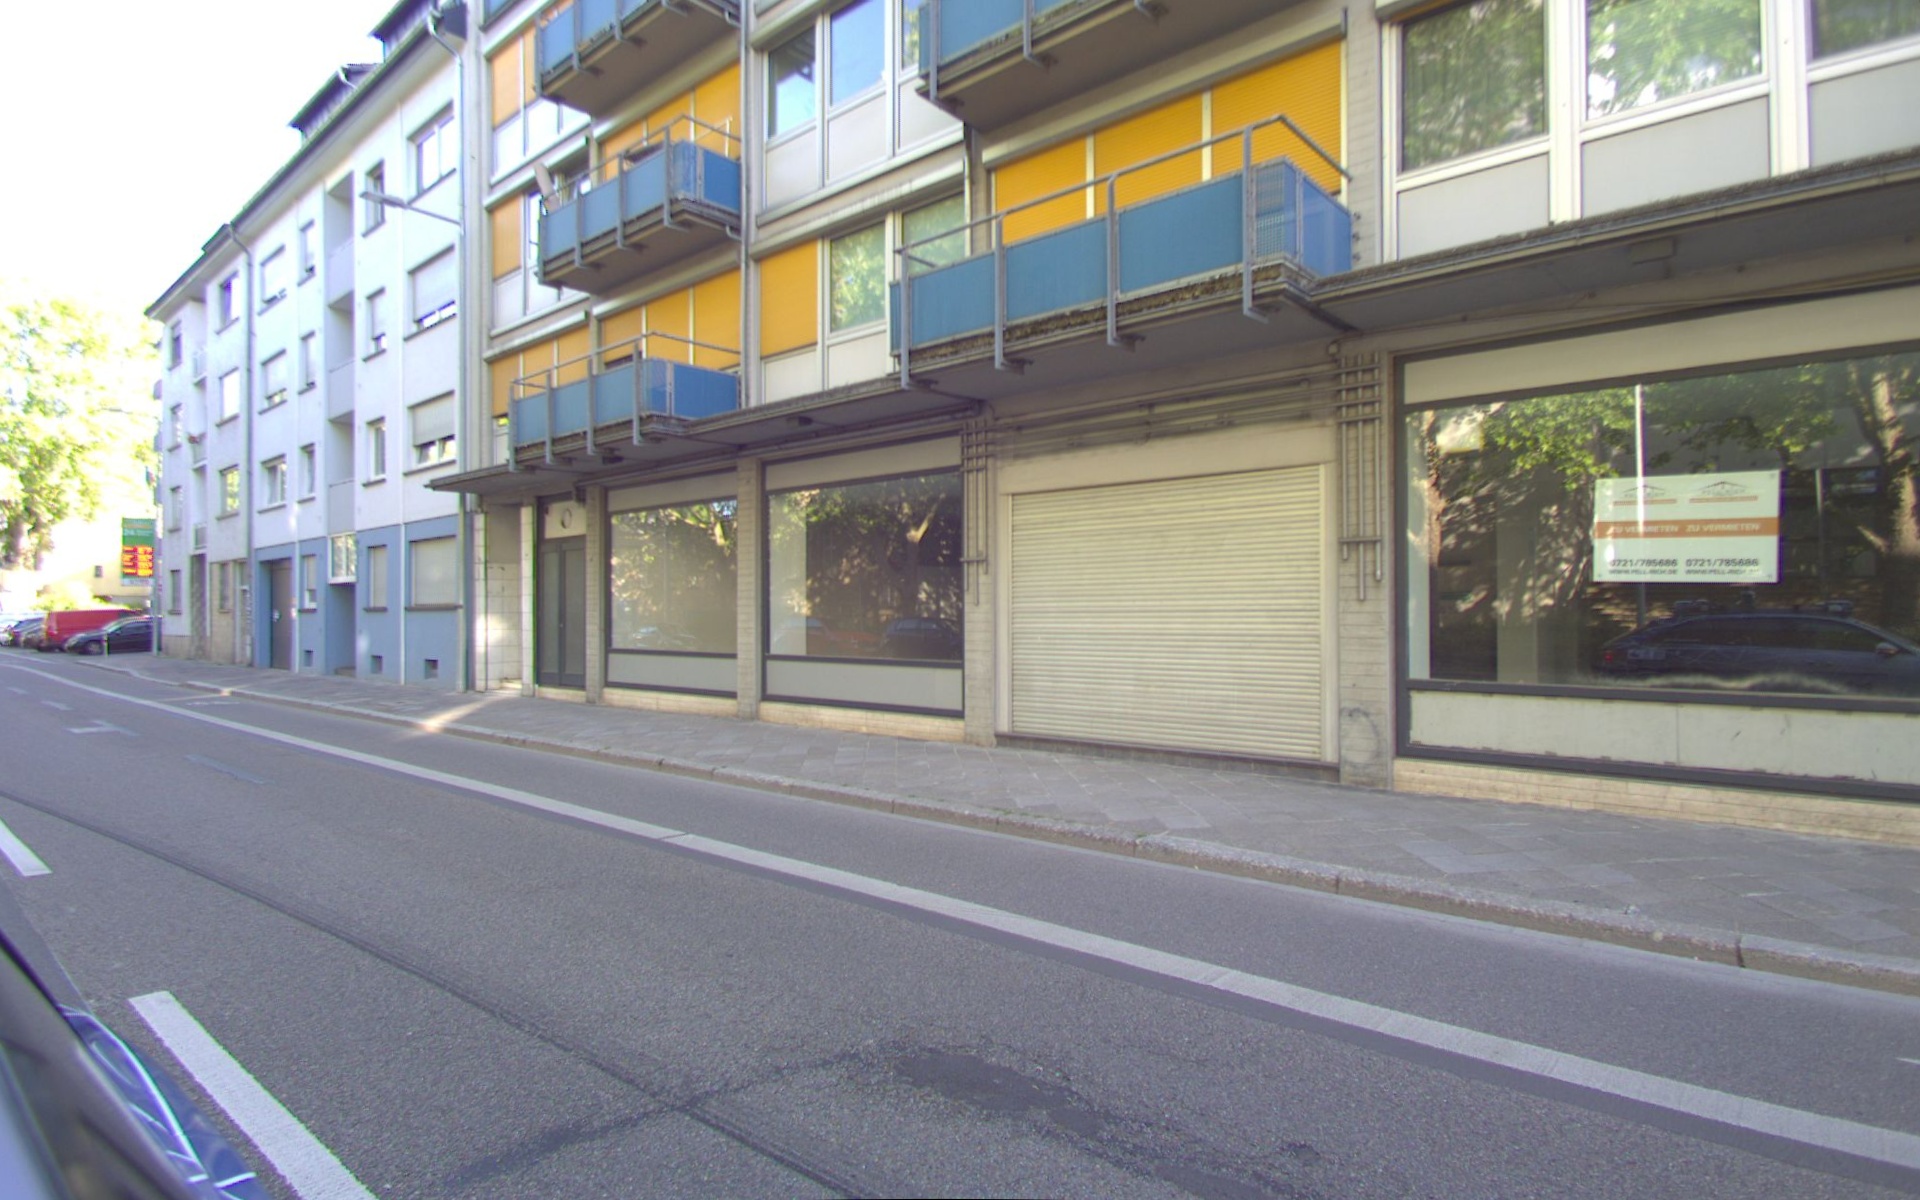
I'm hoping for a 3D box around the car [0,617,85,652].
[{"bbox_3d":[-56.044,2.070,61.457,2.000,1.971,4.180,-1,0,43],"label":"car"}]

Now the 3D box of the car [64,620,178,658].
[{"bbox_3d":[-38.030,1.733,45.928,1.657,1.583,3.762,-1,0,41],"label":"car"}]

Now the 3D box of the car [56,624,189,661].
[{"bbox_3d":[-36.479,1.796,44.145,1.657,1.417,4.269,-1,0,40],"label":"car"}]

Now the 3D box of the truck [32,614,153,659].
[{"bbox_3d":[-40.706,1.651,47.559,1.999,1.939,4.040,-1,0,40],"label":"truck"}]

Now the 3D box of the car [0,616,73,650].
[{"bbox_3d":[-59.328,2.099,64.387,2.000,2.052,4.180,-1,0,43],"label":"car"}]
